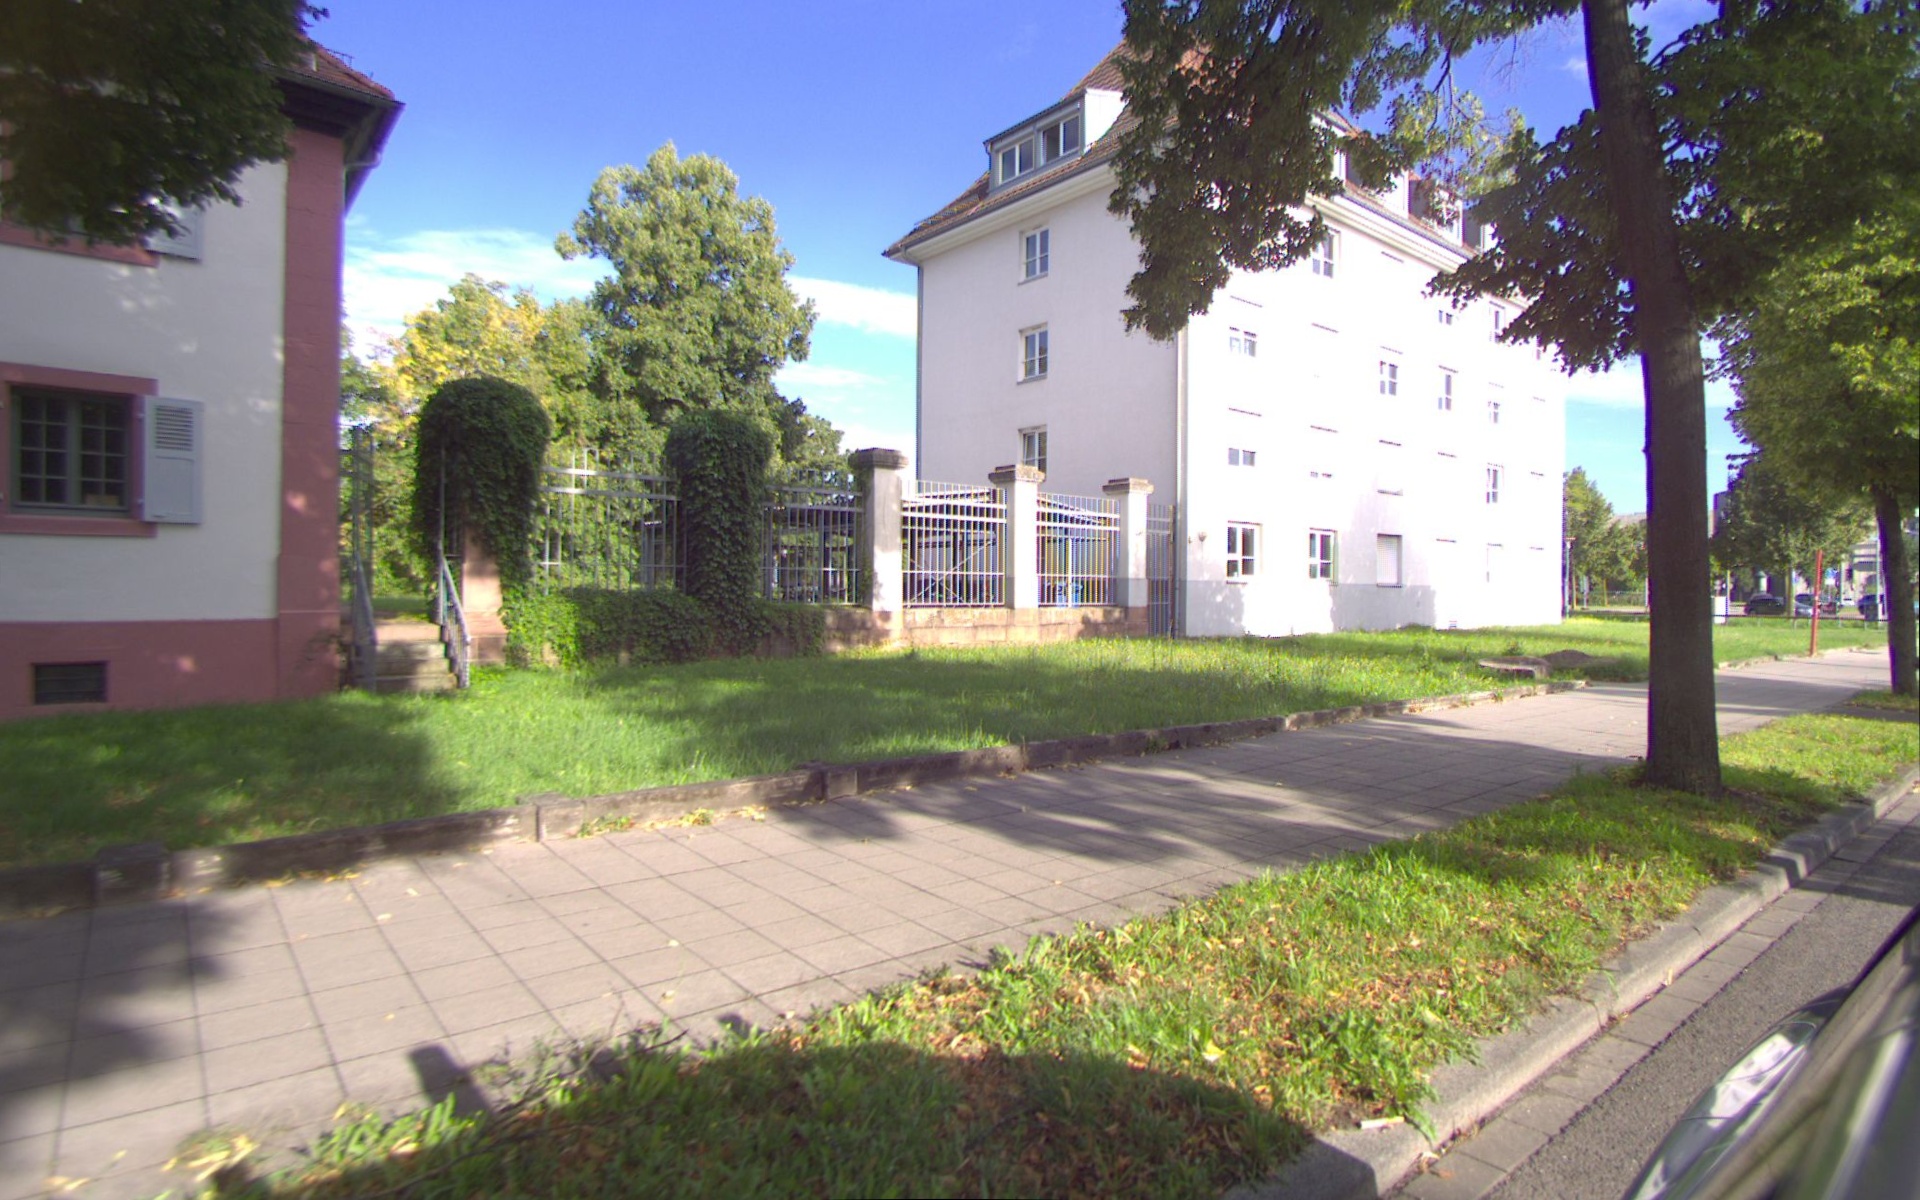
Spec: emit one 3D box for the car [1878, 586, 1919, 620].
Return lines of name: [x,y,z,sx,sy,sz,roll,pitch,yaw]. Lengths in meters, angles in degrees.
car: [54.346,0.186,55.837,1.801,1.890,5.414,-1,0,-11]
